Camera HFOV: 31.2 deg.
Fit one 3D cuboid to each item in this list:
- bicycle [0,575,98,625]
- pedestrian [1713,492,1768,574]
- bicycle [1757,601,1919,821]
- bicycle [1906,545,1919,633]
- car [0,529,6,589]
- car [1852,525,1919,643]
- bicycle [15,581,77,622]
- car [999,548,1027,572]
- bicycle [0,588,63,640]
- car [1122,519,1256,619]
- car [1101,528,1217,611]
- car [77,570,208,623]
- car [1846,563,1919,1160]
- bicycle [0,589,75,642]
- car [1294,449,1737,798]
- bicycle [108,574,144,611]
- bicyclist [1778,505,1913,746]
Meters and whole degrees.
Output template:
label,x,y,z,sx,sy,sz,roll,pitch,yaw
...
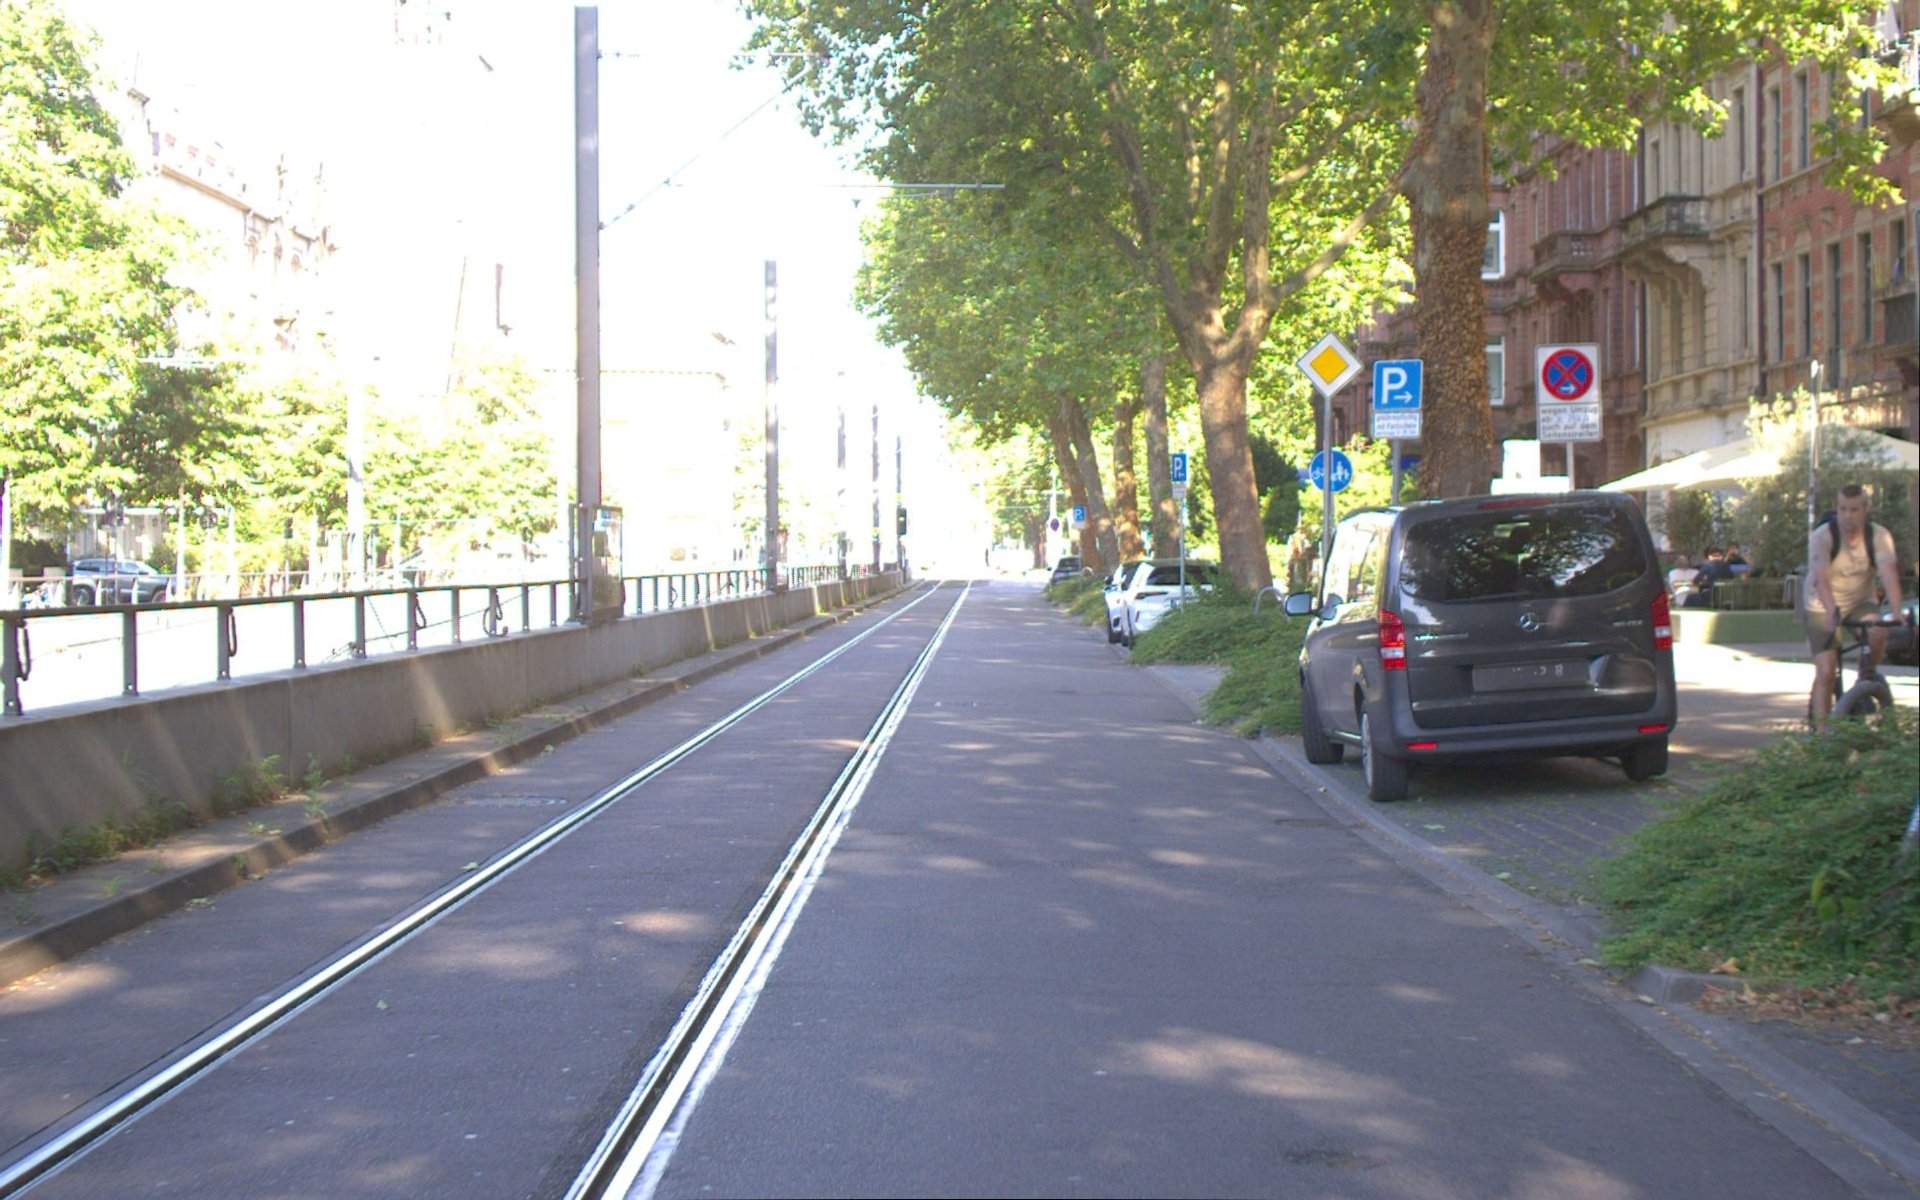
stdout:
label,x,y,z,sx,sy,sz,roll,pitch,yaw
bicycle,-20.753,-0.008,77.805,2.368,1.094,0.557,-1,2,-29
pedestrian,12.609,-1.088,55.583,0.712,1.295,0.663,-2,1,2
bicycle,5.254,0.619,20.265,0.560,1.174,2.226,-2,1,0
bicycle,10.871,-0.148,36.081,1.690,0.913,0.603,-3,1,-11
car,-30.814,-1.257,106.724,1.993,1.843,4.482,0,2,-11
car,13.399,-0.286,42.969,3.986,1.360,1.743,-3,3,-2
bicycle,-20.847,0.030,78.423,1.264,0.902,0.539,-1,2,-29
car,3.455,-2.617,223.146,1.745,1.457,3.645,0,2,0
bicycle,-20.756,0.305,73.904,2.778,1.094,0.643,-1,2,-32
car,3.665,-0.539,55.664,1.802,1.472,4.647,-2,2,0
car,3.488,-0.560,60.890,1.830,1.322,4.000,-2,2,1
car,-26.642,-0.125,112.174,3.986,1.619,1.826,-1,2,-8
car,3.309,0.669,7.111,1.714,1.543,4.501,-4,1,0
bicycle,-20.357,0.324,73.335,2.778,1.094,0.643,-1,2,-32
car,3.608,0.047,23.338,1.993,2.006,5.203,-3,2,-1
bicycle,-23.883,-0.210,98.386,0.454,1.002,1.944,-1,-1,-30
bicyclist,5.226,0.140,20.315,0.569,1.375,0.644,-3,1,0
